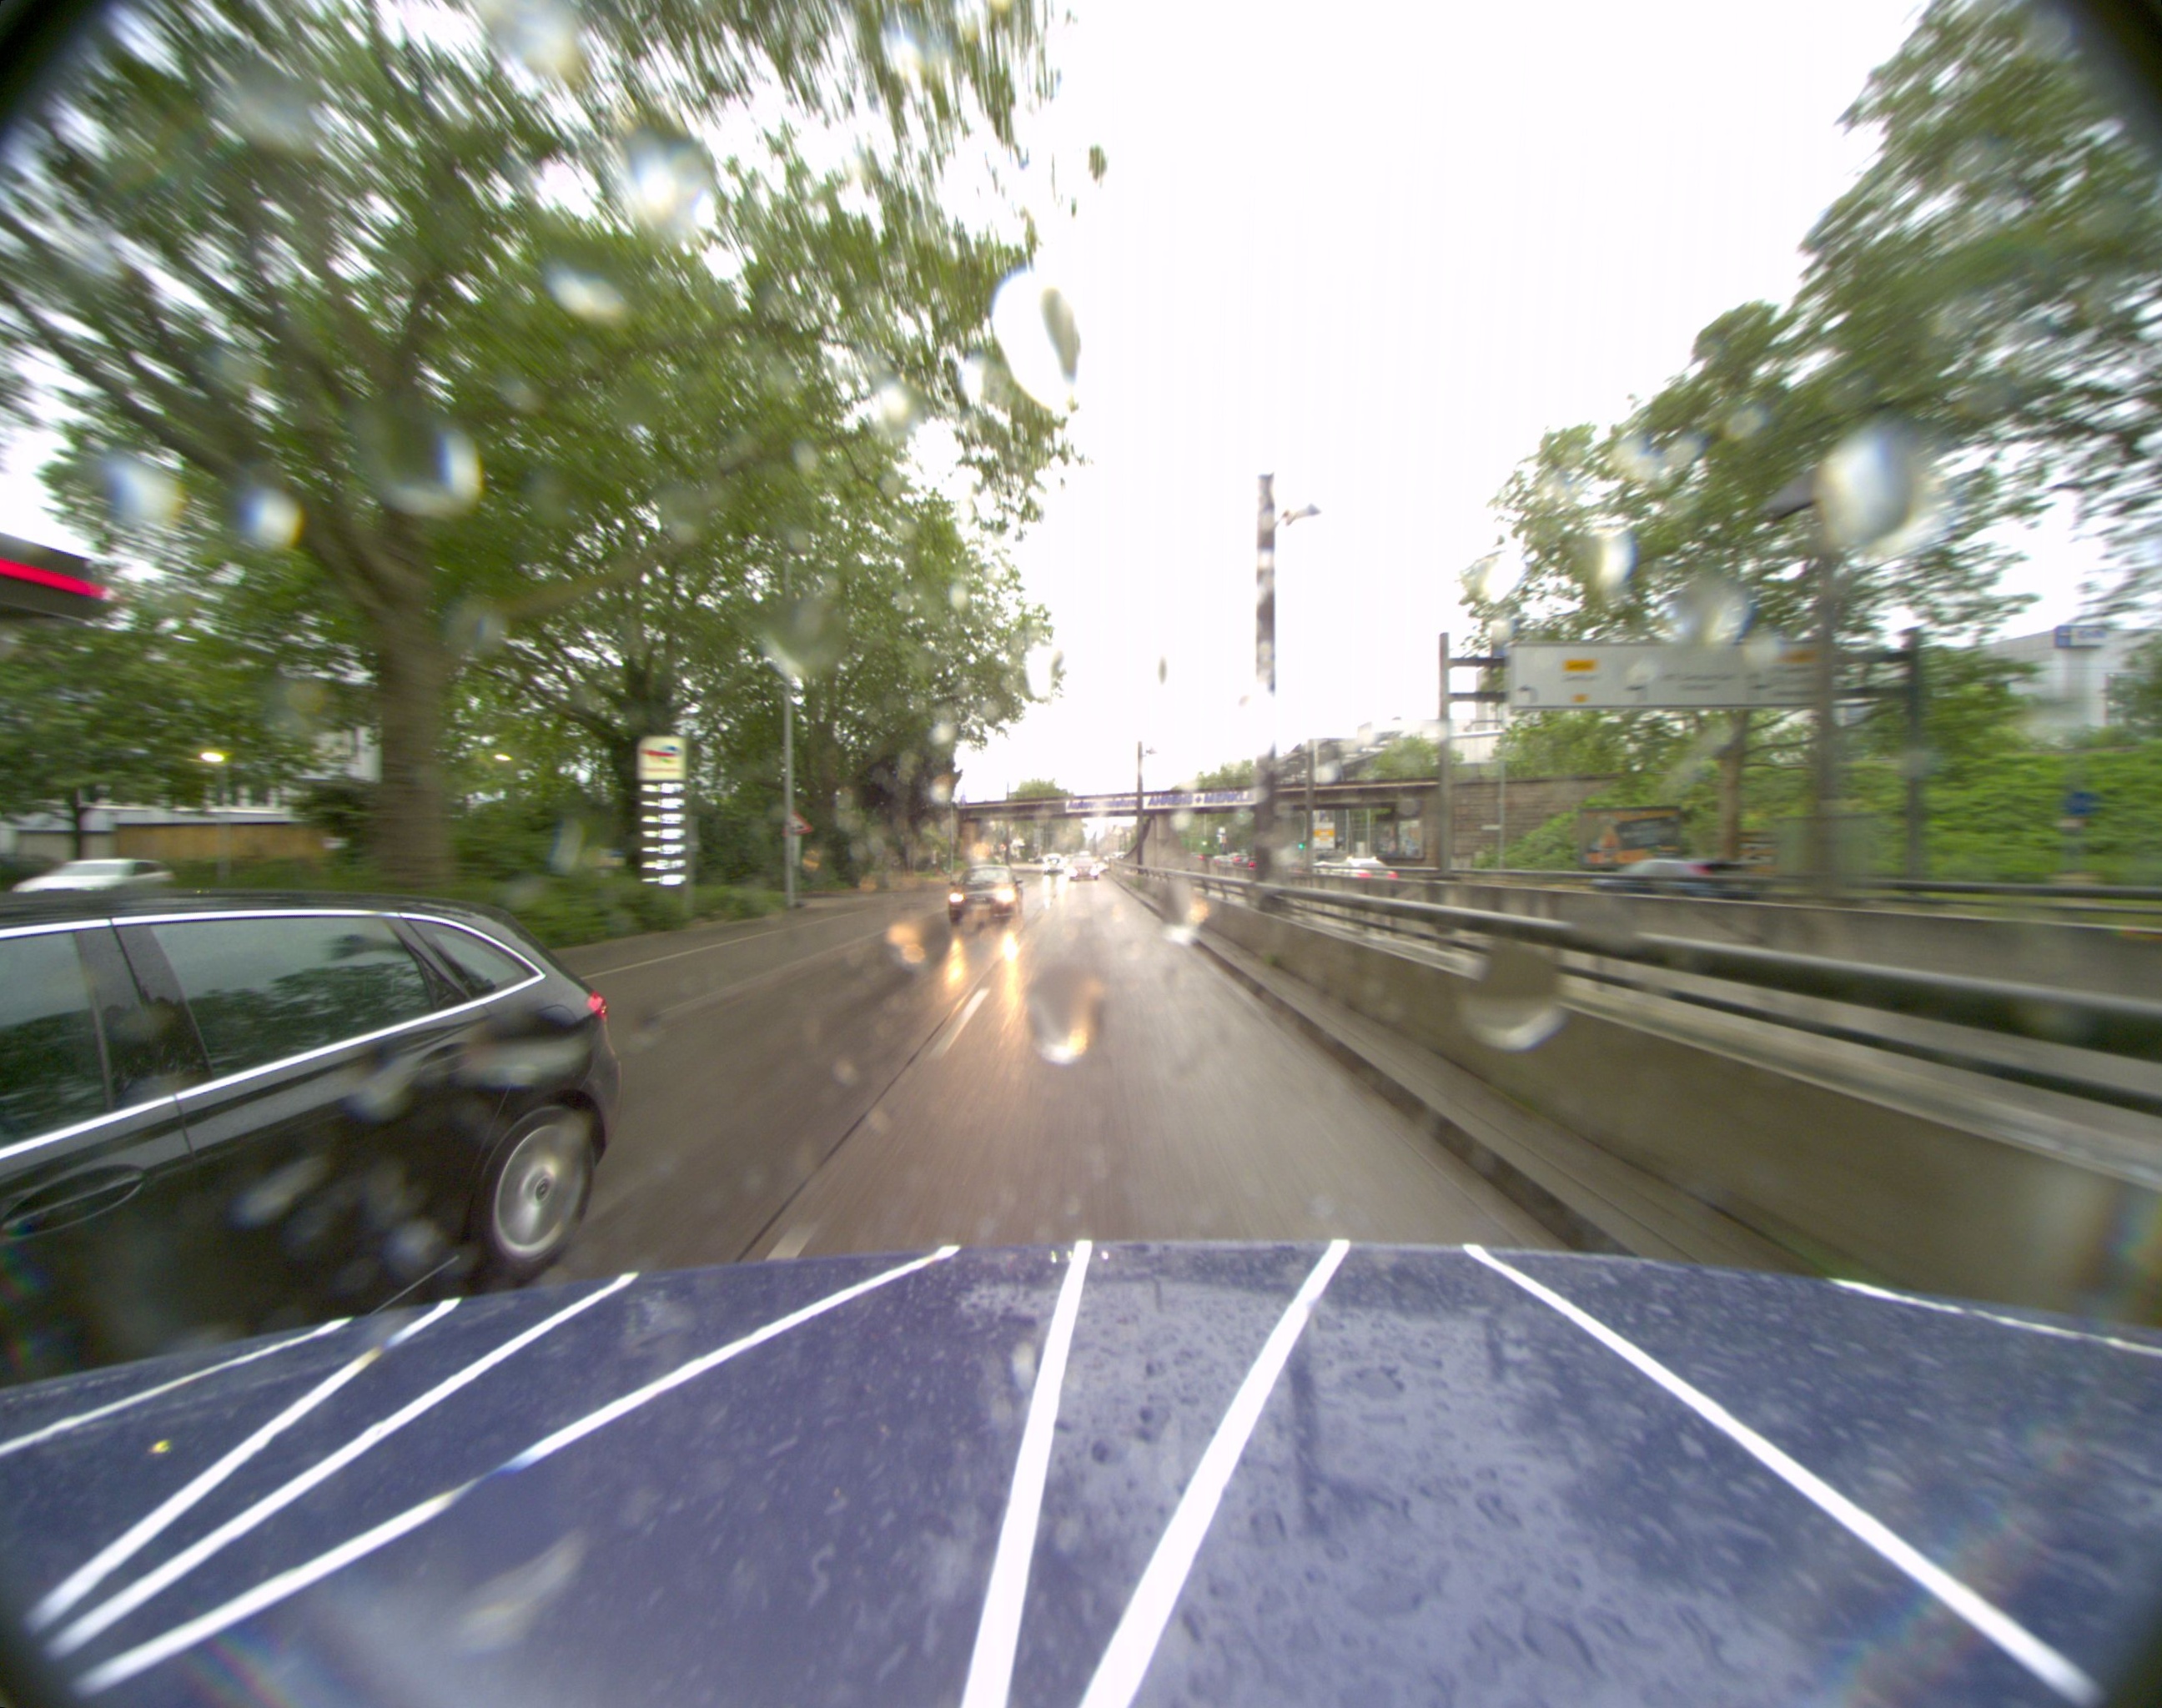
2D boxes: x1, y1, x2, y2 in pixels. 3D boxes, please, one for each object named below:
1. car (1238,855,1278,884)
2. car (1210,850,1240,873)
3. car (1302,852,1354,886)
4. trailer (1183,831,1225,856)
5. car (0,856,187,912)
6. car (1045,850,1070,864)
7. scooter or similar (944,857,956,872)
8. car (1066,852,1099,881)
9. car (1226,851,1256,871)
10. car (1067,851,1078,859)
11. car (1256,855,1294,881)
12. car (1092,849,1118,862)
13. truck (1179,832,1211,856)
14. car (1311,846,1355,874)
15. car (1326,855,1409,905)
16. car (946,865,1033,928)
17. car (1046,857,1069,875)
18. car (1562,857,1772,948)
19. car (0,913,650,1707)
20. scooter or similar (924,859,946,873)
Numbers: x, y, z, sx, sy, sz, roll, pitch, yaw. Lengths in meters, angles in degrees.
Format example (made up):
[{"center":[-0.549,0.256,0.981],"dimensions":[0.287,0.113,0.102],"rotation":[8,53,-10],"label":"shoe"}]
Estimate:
[{"center":[12.952,1.102,55.856],"dimensions":[1.998,2.002,4.000],"rotation":[-2,0,0],"label":"car"},{"center":[13.393,0.702,70.986],"dimensions":[1.998,2.002,4.000],"rotation":[-2,0,0],"label":"car"},{"center":[15.712,0.943,48.528],"dimensions":[1.998,2.002,4.000],"rotation":[-2,0,0],"label":"car"},{"center":[17.414,-1.448,108.556],"dimensions":[3.331,3.241,11.117],"rotation":[-2,0,-4],"label":"trailer"},{"center":[-31.061,0.850,24.104],"dimensions":[2.003,1.479,4.620],"rotation":[-3,2,-30],"label":"car"},{"center":[-2.934,0.409,94.545],"dimensions":[1.872,1.688,4.418],"rotation":[-1,-1,-19],"label":"car"},{"center":[-10.631,0.875,61.686],"dimensions":[0.453,1.152,1.828],"rotation":[-2,0,8],"label":"scooter or similar"},{"center":[0.167,0.829,51.415],"dimensions":[1.974,1.794,4.159],"rotation":[-1,-1,3],"label":"car"},{"center":[16.132,0.693,76.756],"dimensions":[1.998,1.918,4.367],"rotation":[-2,0,0],"label":"car"},{"center":[-1.601,0.190,138.198],"dimensions":[1.821,1.520,4.157],"rotation":[-1,-1,-3],"label":"car"},{"center":[16.290,1.170,64.139],"dimensions":[1.998,2.002,4.510],"rotation":[-2,0,0],"label":"car"},{"center":[3.275,0.269,104.439],"dimensions":[2.126,1.688,4.151],"rotation":[-1,-1,-22],"label":"car"},{"center":[17.067,-1.456,114.264],"dimensions":[3.384,3.290,6.521],"rotation":[-2,0,-4],"label":"truck"},{"center":[19.811,0.457,59.895],"dimensions":[1.998,2.002,4.196],"rotation":[-2,0,0],"label":"car"},{"center":[12.815,1.080,34.315],"dimensions":[1.998,2.002,4.615],"rotation":[-2,0,0],"label":"car"},{"center":[-2.332,1.056,20.249],"dimensions":[1.641,1.377,3.782],"rotation":[-2,1,3],"label":"car"},{"center":[-2.080,1.067,67.844],"dimensions":[1.821,1.520,4.159],"rotation":[-1,-1,1],"label":"car"},{"center":[15.038,1.138,19.905],"dimensions":[1.998,2.002,4.510],"rotation":[-2,0,0],"label":"car"},{"center":[-2.968,0.947,1.414],"dimensions":[1.821,1.520,4.424],"rotation":[-1,-3,0],"label":"car"},{"center":[-11.448,0.949,59.658],"dimensions":[0.452,1.004,1.742],"rotation":[-2,1,38],"label":"scooter or similar"}]
